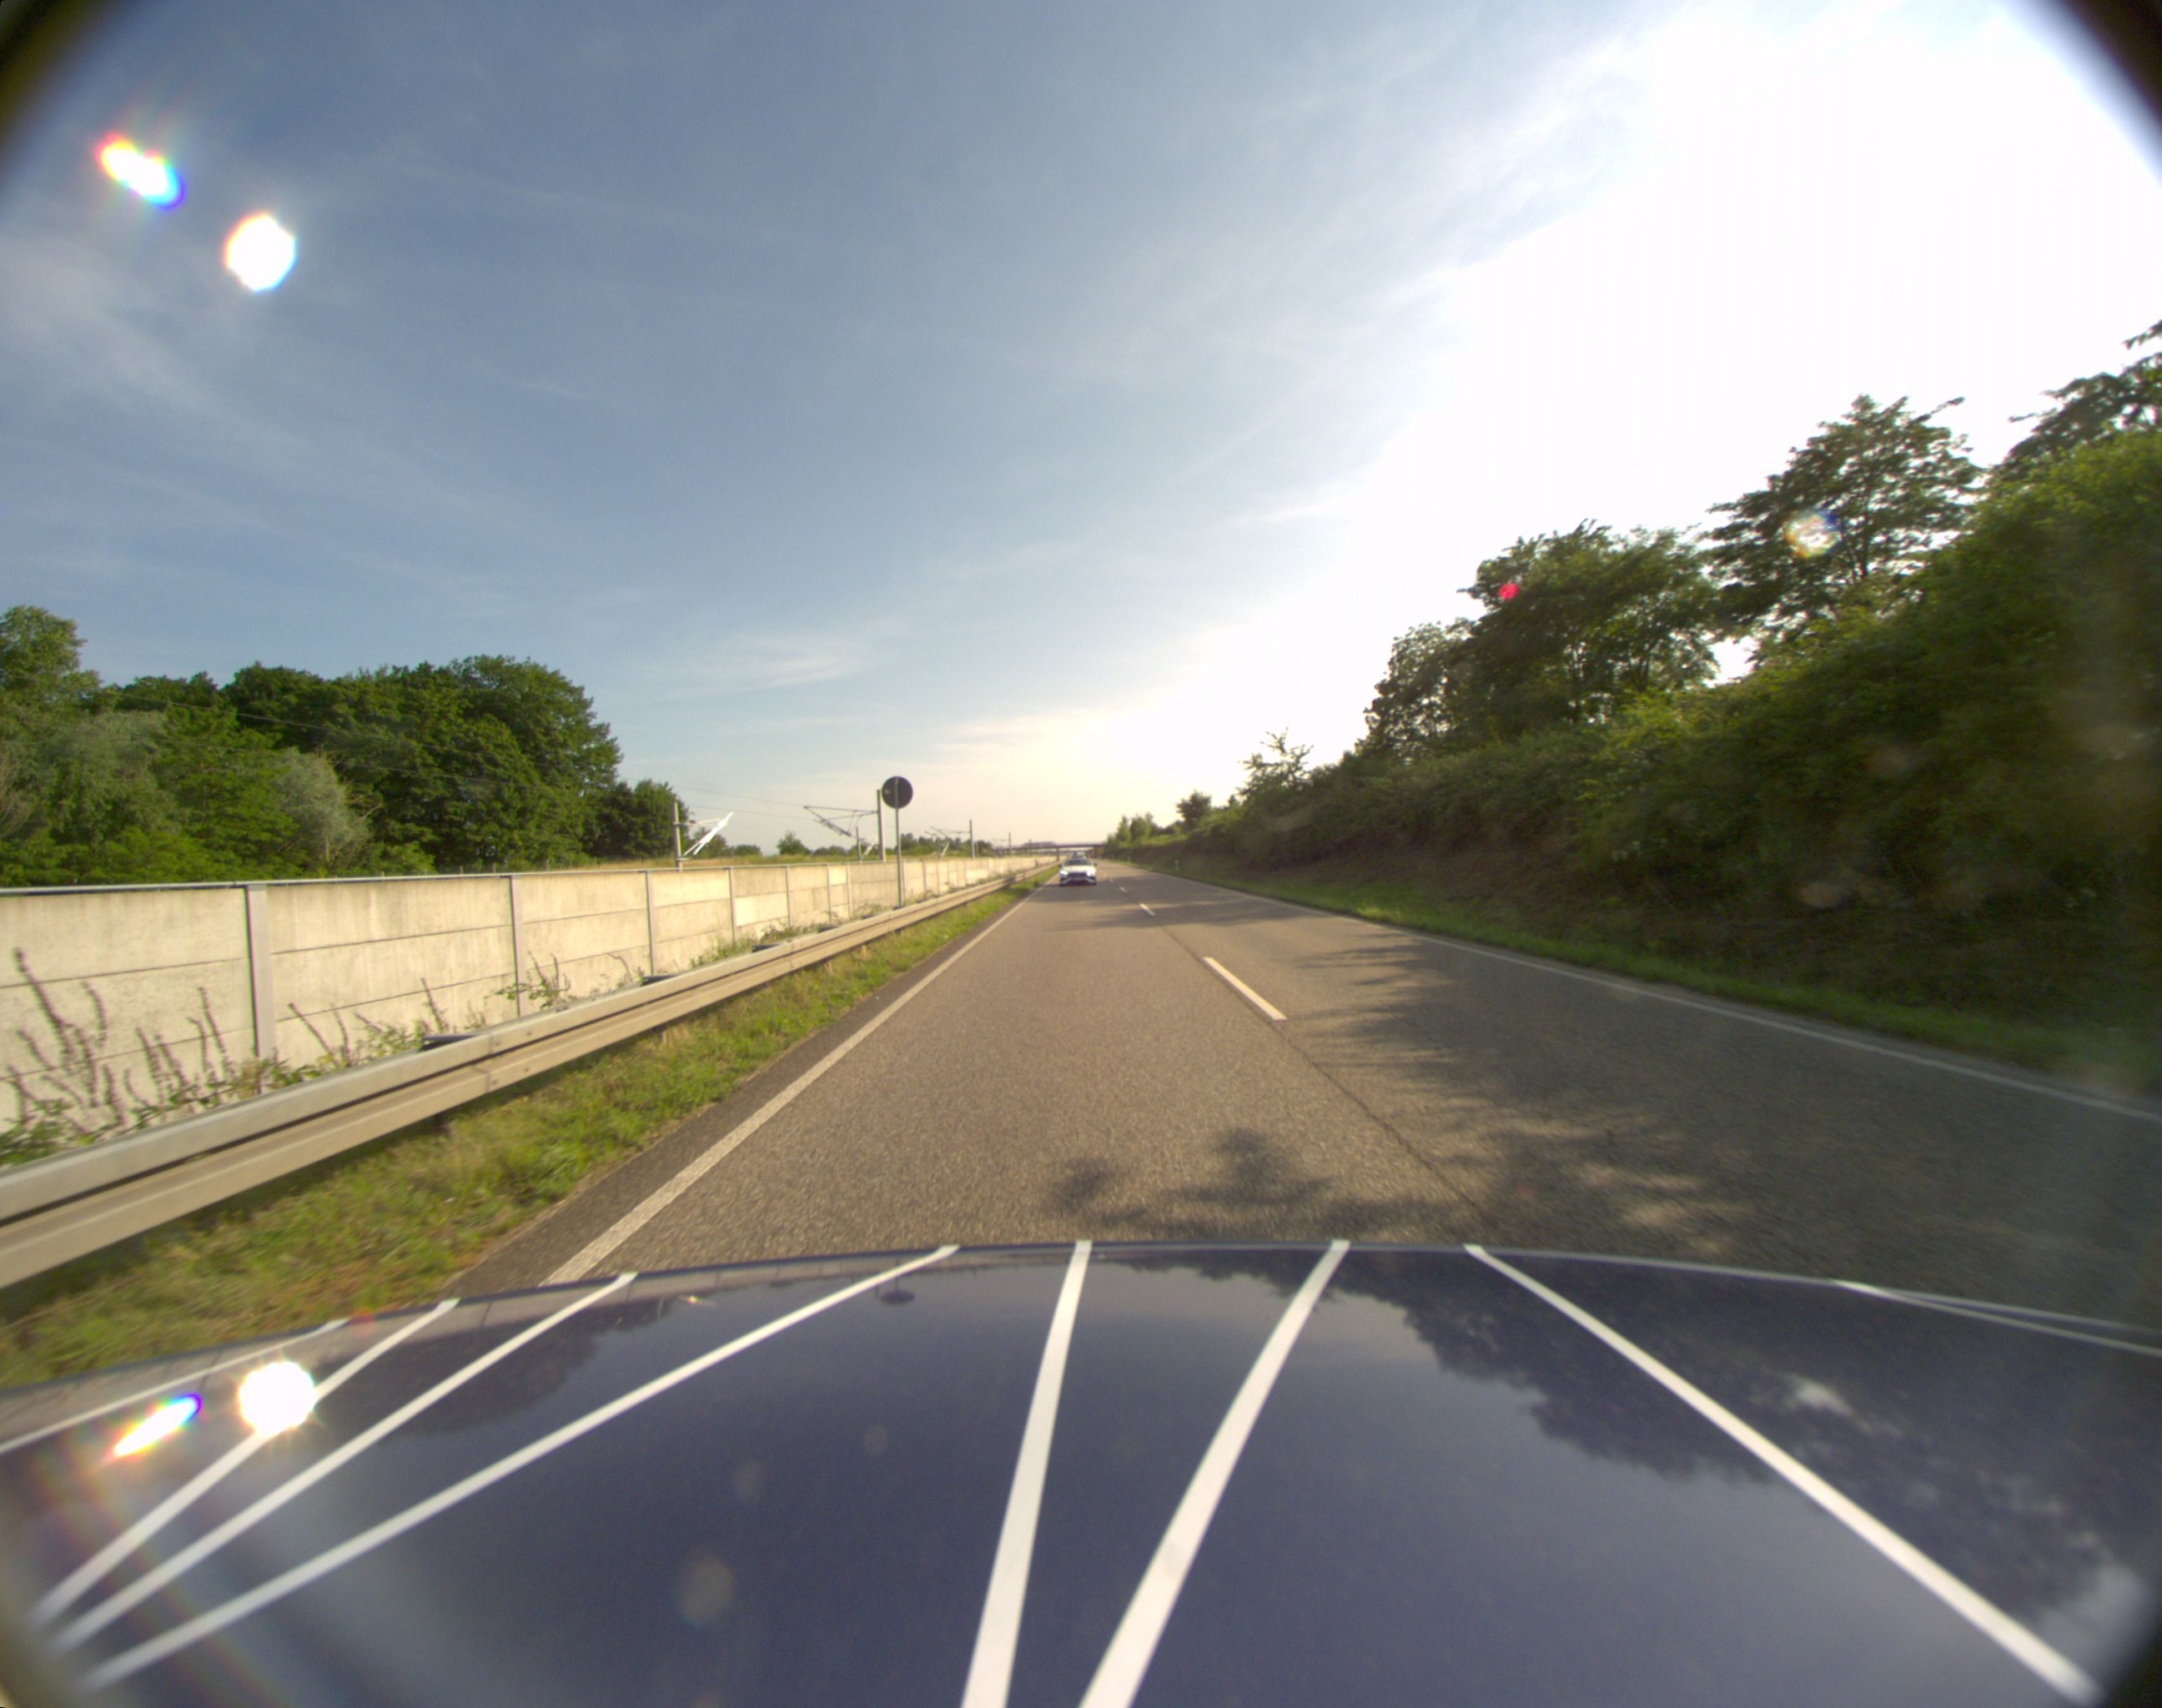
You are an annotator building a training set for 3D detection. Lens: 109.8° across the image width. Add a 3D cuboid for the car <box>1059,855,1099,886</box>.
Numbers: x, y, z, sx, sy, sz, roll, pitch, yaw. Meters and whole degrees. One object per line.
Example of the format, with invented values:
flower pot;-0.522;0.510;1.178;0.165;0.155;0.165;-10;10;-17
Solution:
car;-0.093;0.813;39.781;1.953;1.430;4.611;-2;0;0
